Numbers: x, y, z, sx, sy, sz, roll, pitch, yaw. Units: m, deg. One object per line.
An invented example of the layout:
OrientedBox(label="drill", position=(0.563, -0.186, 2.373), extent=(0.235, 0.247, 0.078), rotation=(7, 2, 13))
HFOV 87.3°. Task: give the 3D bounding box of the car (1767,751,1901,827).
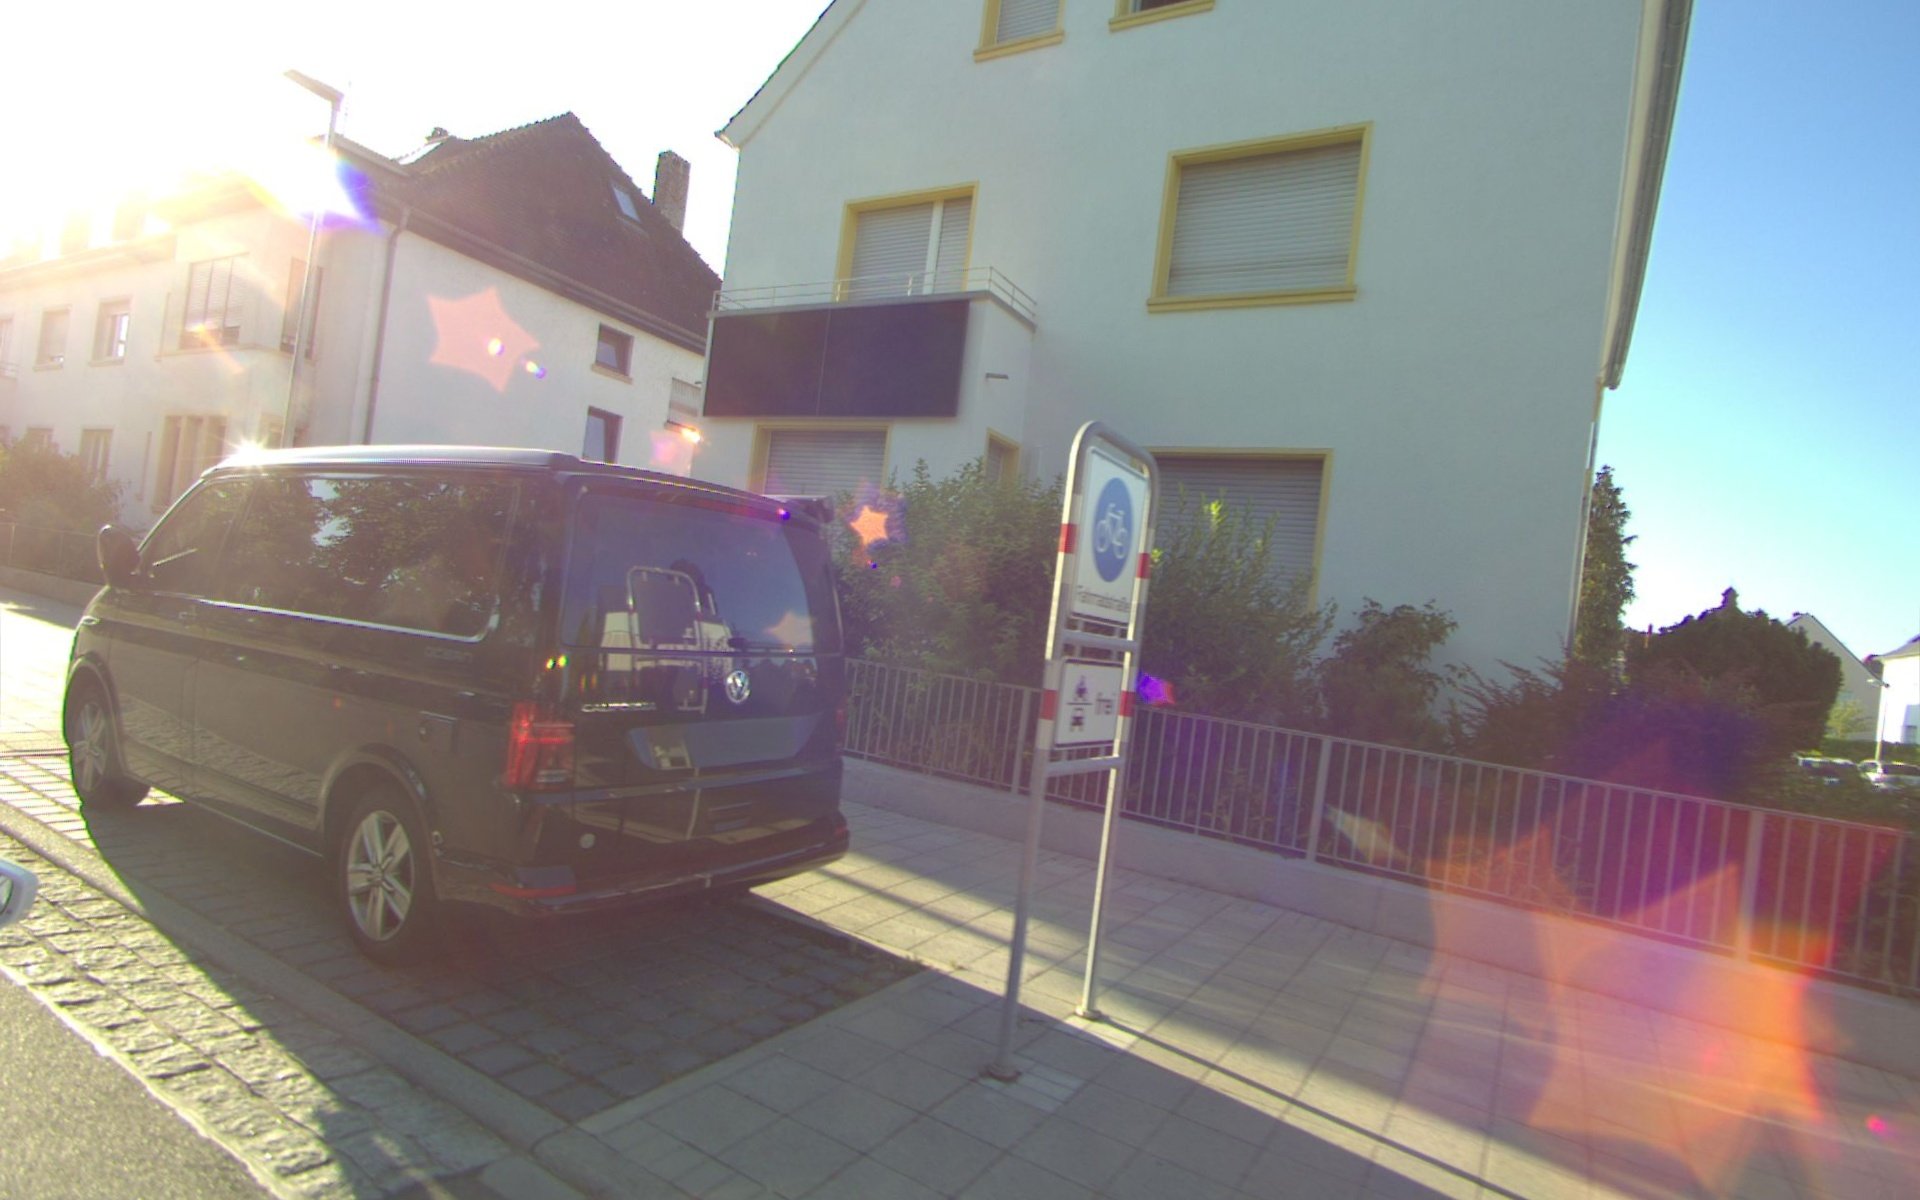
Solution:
OrientedBox(label="car", position=(23.245, 4.979, 26.921), extent=(1.771, 1.551, 4.131), rotation=(6, -4, 29))

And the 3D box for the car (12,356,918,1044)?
OrientedBox(label="car", position=(-2.792, 0.171, 5.223), extent=(4.736, 2.158, 1.907), rotation=(6, 0, 33))

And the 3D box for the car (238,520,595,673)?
OrientedBox(label="car", position=(-7.781, 0.059, 14.880), extent=(1.821, 1.746, 4.228), rotation=(6, -2, 28))

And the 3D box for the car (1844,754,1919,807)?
OrientedBox(label="car", position=(35.697, 6.913, 38.583), extent=(1.771, 1.552, 4.388), rotation=(5, -2, 31))
